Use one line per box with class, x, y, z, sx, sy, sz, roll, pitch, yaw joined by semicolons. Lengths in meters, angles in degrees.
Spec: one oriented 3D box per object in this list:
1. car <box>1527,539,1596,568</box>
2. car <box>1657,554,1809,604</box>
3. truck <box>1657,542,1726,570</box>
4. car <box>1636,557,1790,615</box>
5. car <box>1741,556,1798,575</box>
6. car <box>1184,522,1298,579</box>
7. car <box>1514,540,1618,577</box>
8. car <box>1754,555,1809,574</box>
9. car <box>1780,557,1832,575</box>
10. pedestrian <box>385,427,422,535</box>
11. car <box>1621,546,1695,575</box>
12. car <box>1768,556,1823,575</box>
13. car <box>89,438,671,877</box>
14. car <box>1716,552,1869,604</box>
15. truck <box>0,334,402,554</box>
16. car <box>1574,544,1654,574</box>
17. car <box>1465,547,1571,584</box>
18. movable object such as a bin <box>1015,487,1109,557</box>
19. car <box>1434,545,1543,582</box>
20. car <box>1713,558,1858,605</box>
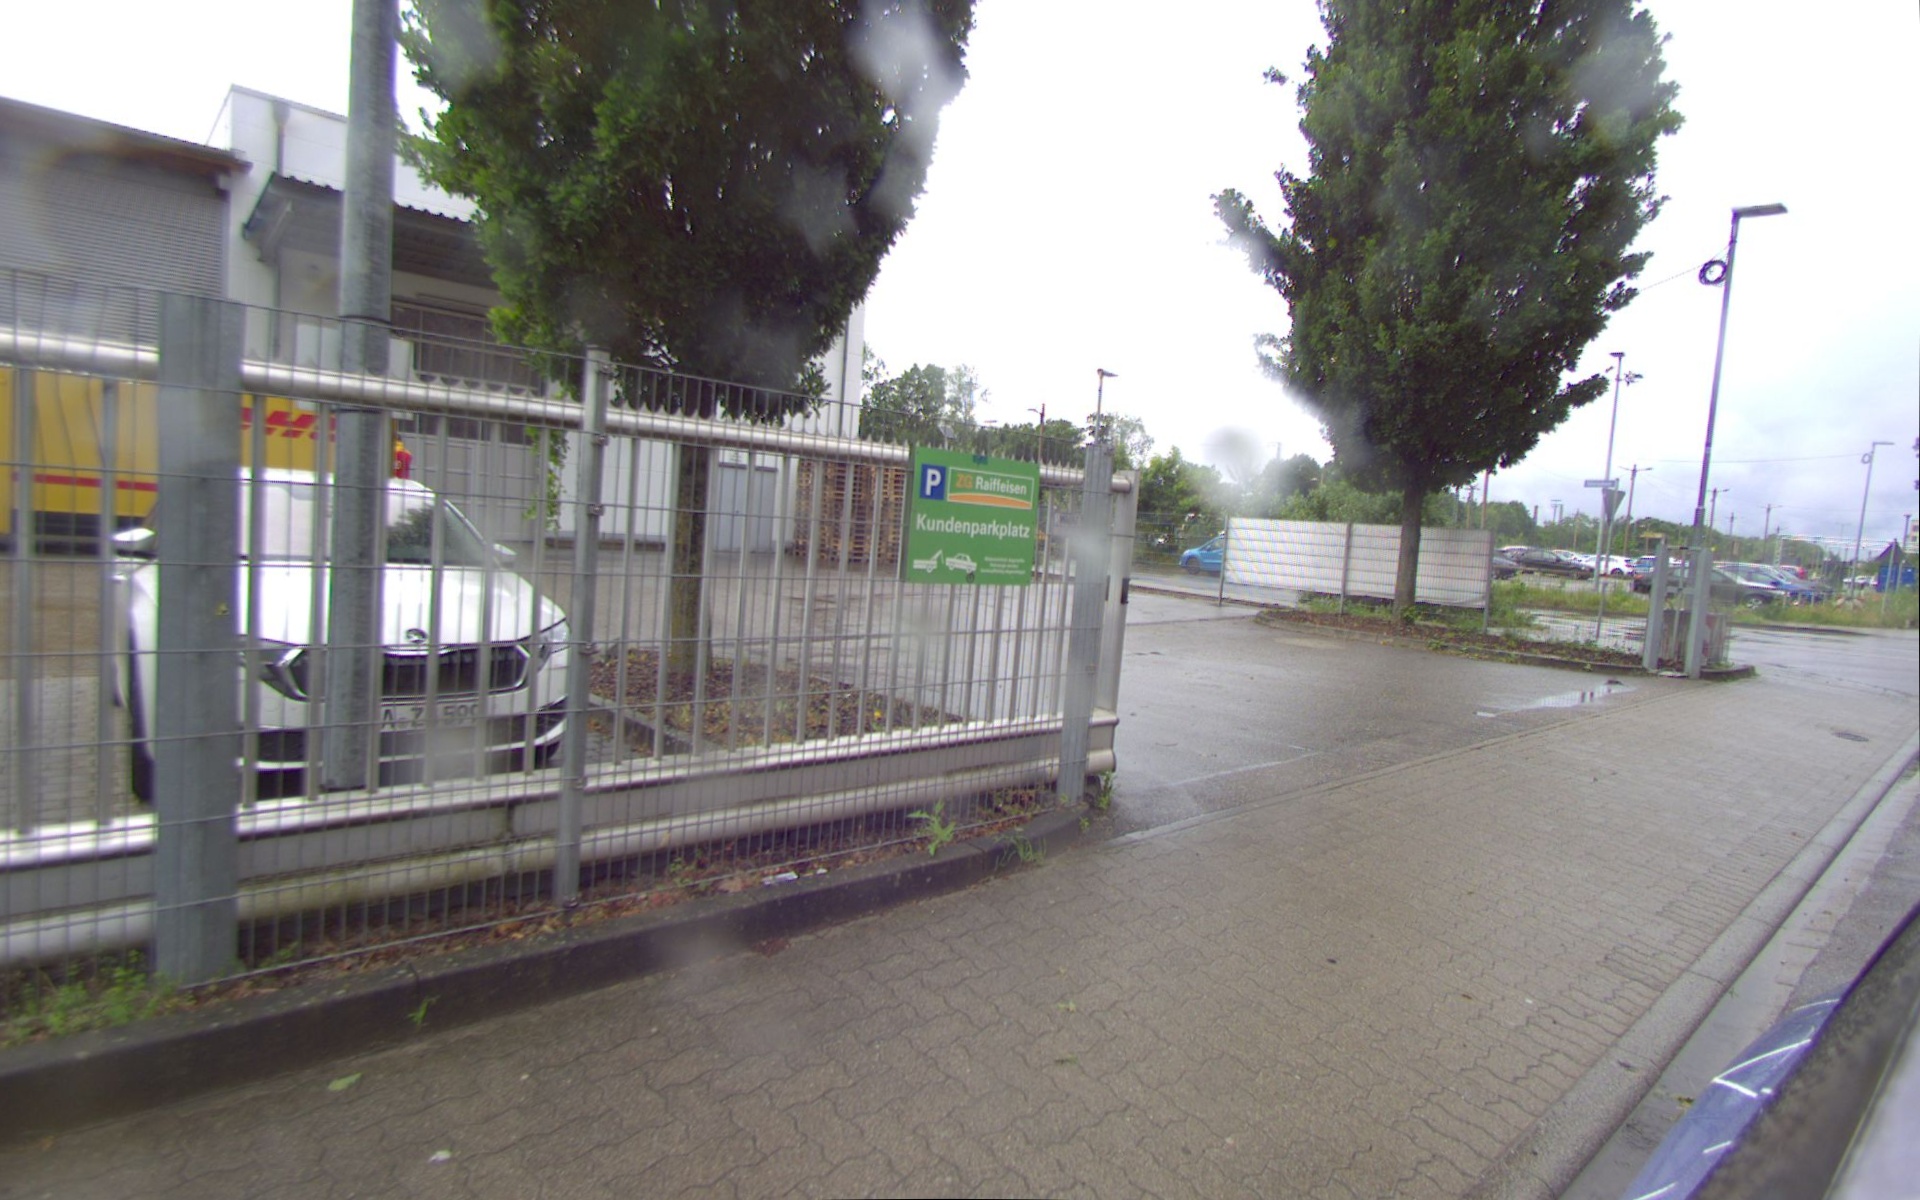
car;45.802;-3.575;77.104;1.802;1.677;4.071;-3;10;-43
car;29.168;-0.849;38.274;1.858;1.527;4.193;-2;7;-41
truck;75.714;-4.593;104.796;2.116;2.394;5.303;-1;8;-42
car;26.984;-0.551;36.341;4.218;1.415;1.863;11;10;40
car;79.790;-3.417;99.763;1.853;1.443;3.967;-2;9;-39
car;11.269;-2.030;40.774;1.800;1.944;3.996;0;6;-42
car;34.145;-2.385;57.123;4.622;1.736;1.988;8;7;43
car;83.843;-3.665;103.319;1.853;1.443;3.967;-2;9;-39
car;92.290;-3.741;110.388;1.775;1.554;3.967;-2;9;-39
pedestrian;-9.213;-1.972;16.752;0.425;1.737;0.457;1;7;-39
car;50.196;-2.862;72.805;1.754;1.601;3.919;-2;10;-38
car;88.092;-3.650;106.773;1.892;1.506;4.080;-2;9;-39
car;-3.624;-0.041;5.752;1.859;1.479;4.713;0;6;-43
car;36.455;-1.019;44.423;2.089;1.754;4.701;-1;8;-37
truck;-12.376;-2.226;14.565;7.282;2.689;2.309;0;7;-39
car;42.308;-2.679;65.524;1.893;1.500;3.845;-2;10;-38
car;27.071;-1.702;49.154;1.965;1.502;3.998;-2;7;-40
movable object such as a bin;4.833;-3.734;48.237;1.966;3.027;3.997;0;6;-42
car;24.568;-1.739;47.125;1.965;1.425;3.998;-2;7;-40
car;33.949;-0.815;41.714;1.788;1.534;4.307;-2;7;-41
